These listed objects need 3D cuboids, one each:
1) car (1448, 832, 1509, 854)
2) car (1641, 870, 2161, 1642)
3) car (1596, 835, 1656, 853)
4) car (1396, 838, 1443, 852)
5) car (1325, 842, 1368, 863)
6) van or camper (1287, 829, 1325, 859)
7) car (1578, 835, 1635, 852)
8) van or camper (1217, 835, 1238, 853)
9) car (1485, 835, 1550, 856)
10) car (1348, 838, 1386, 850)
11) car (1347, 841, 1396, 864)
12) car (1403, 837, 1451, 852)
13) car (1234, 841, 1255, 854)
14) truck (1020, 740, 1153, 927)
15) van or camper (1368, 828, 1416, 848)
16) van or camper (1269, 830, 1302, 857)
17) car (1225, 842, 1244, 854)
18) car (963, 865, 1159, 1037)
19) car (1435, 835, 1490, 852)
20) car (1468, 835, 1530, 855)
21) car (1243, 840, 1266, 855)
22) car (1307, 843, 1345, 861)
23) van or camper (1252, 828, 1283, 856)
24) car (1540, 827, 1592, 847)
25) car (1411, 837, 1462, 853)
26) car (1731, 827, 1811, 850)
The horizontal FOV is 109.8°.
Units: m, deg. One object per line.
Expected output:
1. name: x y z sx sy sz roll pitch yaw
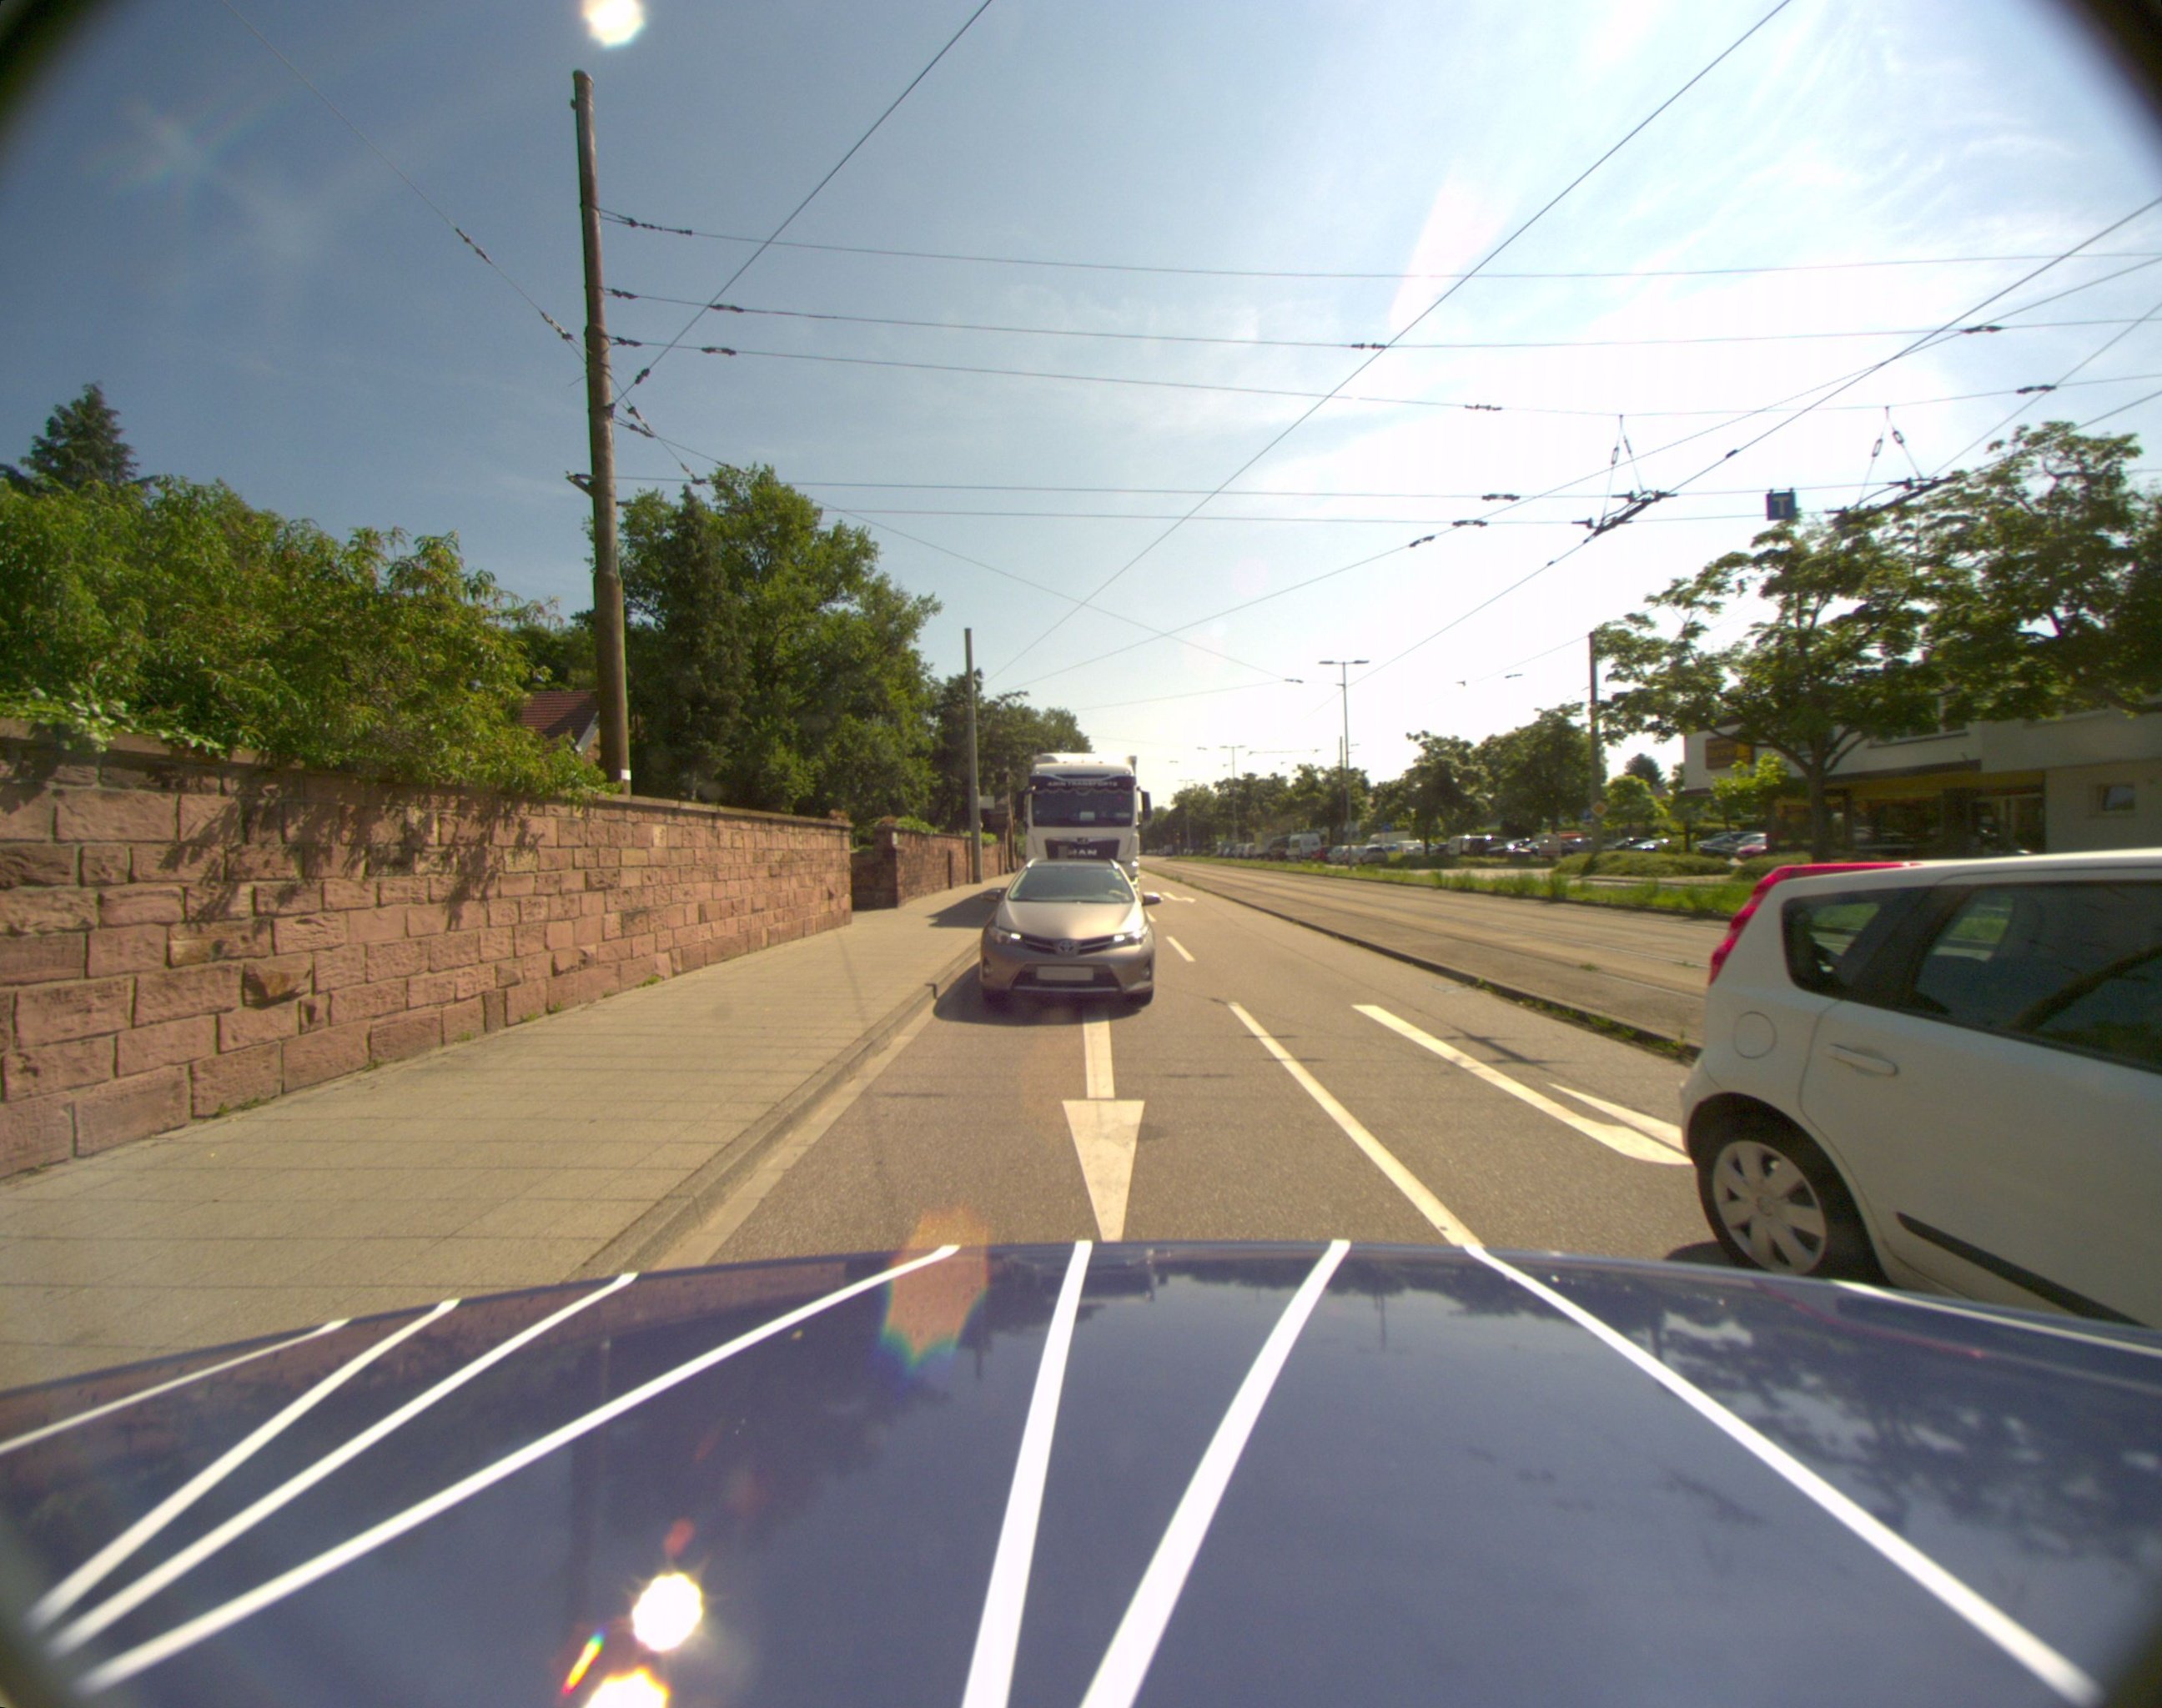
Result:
1. car: 30.876 -0.868 59.084 3.749 1.560 1.950 -1 1 -1
2. car: 3.122 0.866 1.026 1.770 1.552 4.067 0 1 1
3. car: 43.981 -0.808 61.305 3.624 1.354 1.712 -1 1 -1
4. car: 32.180 -0.871 72.302 3.624 1.274 1.712 -1 1 -1
5. car: 20.758 -0.170 59.664 1.892 1.551 4.284 -1 1 0
6. van or camper: 20.741 -0.913 70.259 2.040 2.617 4.839 -1 1 0
7. car: 44.191 -0.893 63.894 3.624 1.354 1.712 -1 1 -1
8. van or camper: 21.746 -1.459 113.176 2.114 2.604 5.451 0 1 1
9. car: 30.891 -0.603 53.876 3.624 1.354 1.712 -1 1 -1
10. car: 32.565 -1.107 86.588 3.624 1.274 1.712 -1 1 -1
11. car: 20.743 -0.113 54.391 1.892 1.486 4.285 -4 1 2
12. car: 31.864 -0.830 69.995 3.624 1.274 1.712 -1 1 -1
13. car: 21.658 -0.864 100.750 1.892 1.757 4.231 -1 1 0
14. truck: 0.188 -0.477 20.341 2.746 3.852 9.110 0 1 1
15. van or camper: 45.577 -2.364 111.617 6.081 2.715 2.299 -1 1 3
16. van or camper: 20.723 -1.028 77.314 2.040 2.617 4.839 -1 1 0
17. car: 21.539 -0.853 106.753 1.892 1.551 4.231 -1 1 0
18. car: -0.142 0.896 9.003 1.742 1.424 4.462 0 1 1
19. car: 30.812 -0.821 61.411 3.624 1.277 1.712 -1 1 -1
20. car: 31.108 -0.648 56.618 3.624 1.354 1.712 -1 1 -1
21. car: 21.351 -0.778 93.816 1.892 1.724 4.231 -1 1 0
22. car: 20.912 -0.202 65.045 1.892 1.486 4.231 -1 1 0
23. van or camper: 20.843 -1.333 85.202 2.128 2.968 5.281 -1 1 0
24. car: 44.056 -1.530 69.002 3.624 1.767 1.712 -1 1 -1
25. car: 31.393 -0.783 67.177 3.624 1.274 1.812 -1 1 -1
26. car: 44.180 -0.994 48.699 3.624 1.354 1.712 -1 1 -1
